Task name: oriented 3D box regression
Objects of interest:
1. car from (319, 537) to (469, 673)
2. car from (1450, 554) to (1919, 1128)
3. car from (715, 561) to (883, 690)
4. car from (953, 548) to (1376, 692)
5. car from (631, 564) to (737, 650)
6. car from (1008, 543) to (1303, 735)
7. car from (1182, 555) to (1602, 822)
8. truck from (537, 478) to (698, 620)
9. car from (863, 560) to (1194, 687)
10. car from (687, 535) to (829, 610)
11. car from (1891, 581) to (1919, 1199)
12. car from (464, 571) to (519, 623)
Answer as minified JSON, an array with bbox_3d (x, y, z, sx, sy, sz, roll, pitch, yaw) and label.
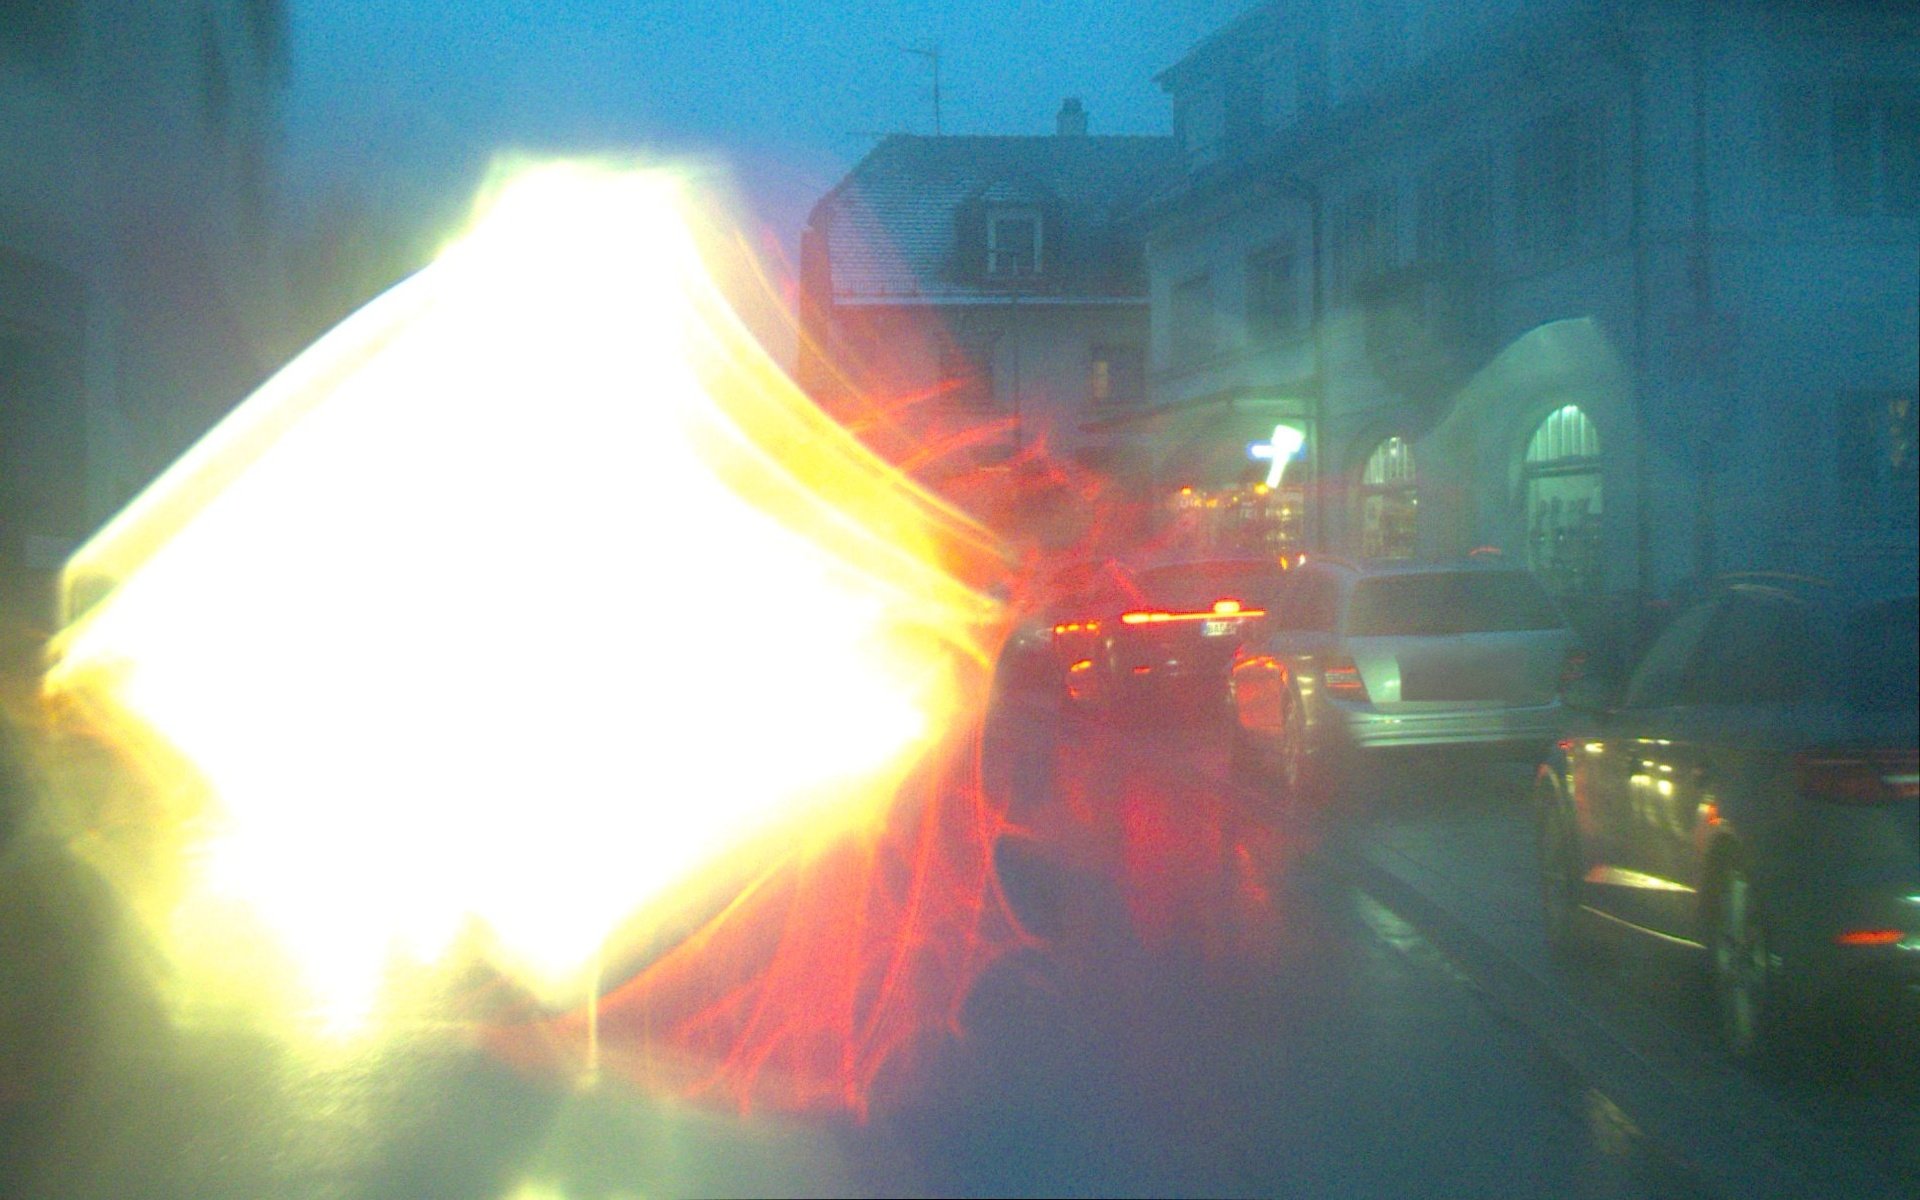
[{"bbox_3d":[-7.226,0.028,44.112,1.794,1.637,3.813,1,1,-9],"label":"car"},{"bbox_3d":[2.924,0.589,11.156,1.823,1.418,4.608,-3,0,-2],"label":"car"},{"bbox_3d":[-1.985,0.291,41.523,1.637,1.476,3.380,1,0,-9],"label":"car"},{"bbox_3d":[2.296,0.199,39.149,4.465,1.468,1.898,-2,1,-9],"label":"car"},{"bbox_3d":[-4.996,0.110,62.014,1.637,1.476,3.272,1,1,-9],"label":"car"},{"bbox_3d":[1.660,0.288,30.836,1.882,1.541,4.672,-1,1,-6],"label":"car"},{"bbox_3d":[2.611,0.480,21.830,1.794,1.455,4.531,-2,1,-3],"label":"car"},{"bbox_3d":[-8.123,-1.185,80.744,3.014,3.118,8.002,1,1,-11],"label":"truck"},{"bbox_3d":[1.001,0.328,51.413,4.602,1.769,1.946,-1,1,-13],"label":"car"},{"bbox_3d":[-5.896,-0.799,100.612,4.097,2.155,1.913,0,1,-1],"label":"car"},{"bbox_3d":[2.833,0.661,5.595,1.626,1.436,3.799,-3,0,1],"label":"car"},{"bbox_3d":[-14.402,-0.100,105.644,1.637,1.530,3.407,0,1,-8],"label":"car"}]
